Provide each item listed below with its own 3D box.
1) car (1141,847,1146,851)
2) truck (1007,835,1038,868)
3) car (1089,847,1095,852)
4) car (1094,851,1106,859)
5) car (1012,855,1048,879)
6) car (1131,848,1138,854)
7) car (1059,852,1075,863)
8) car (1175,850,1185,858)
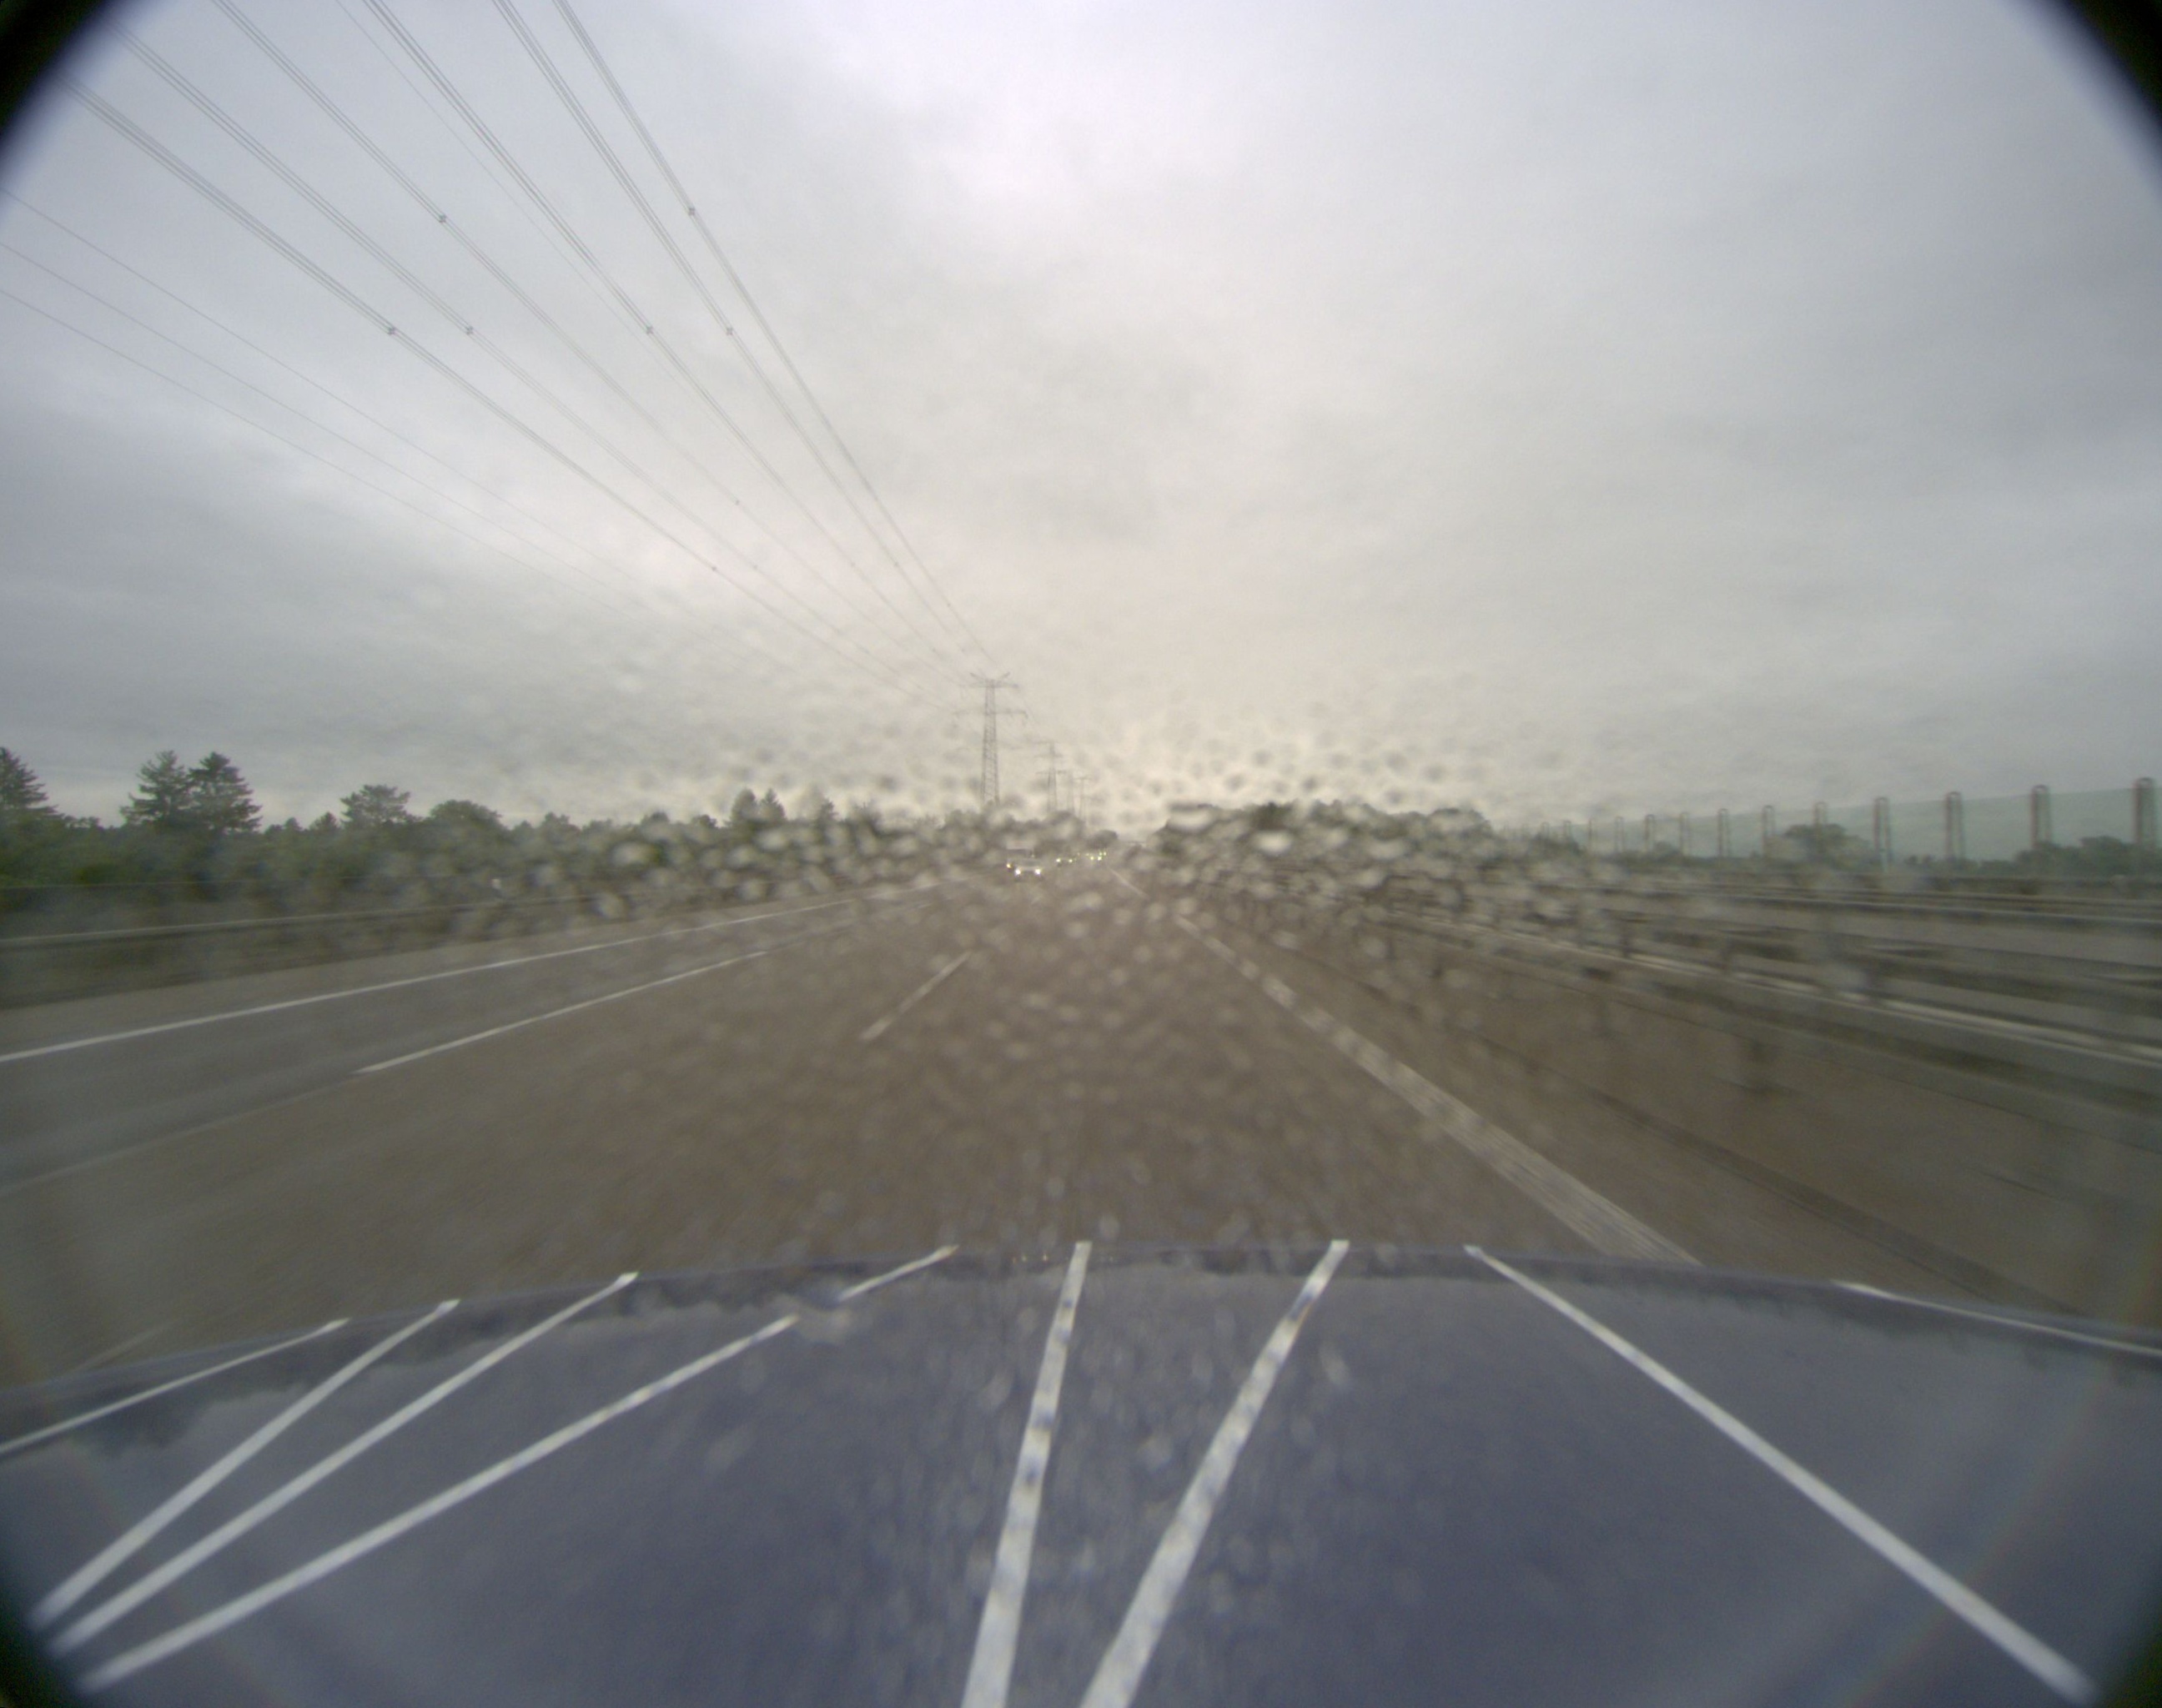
[{"bbox_3d":[20.691,-1.692,251.568,1.688,1.528,3.860,-1,0,1],"label":"car"},{"bbox_3d":[-6.416,-0.283,83.721,2.649,3.325,6.931,-2,0,1],"label":"truck"},{"bbox_3d":[3.615,-1.474,243.483,1.998,1.418,4.000,-2,0,1],"label":"car"},{"bbox_3d":[3.446,0.219,139.276,1.998,1.418,4.000,-2,0,1],"label":"car"},{"bbox_3d":[-3.247,0.837,49.242,1.998,1.418,4.000,-2,0,1],"label":"car"},{"bbox_3d":[15.706,-0.907,223.164,1.688,1.528,3.860,-1,0,1],"label":"car"},{"bbox_3d":[-1.912,0.488,103.953,1.998,1.418,4.000,-2,0,1],"label":"car"},{"bbox_3d":[20.587,-0.012,158.137,1.688,1.488,3.860,-1,0,1],"label":"car"}]
